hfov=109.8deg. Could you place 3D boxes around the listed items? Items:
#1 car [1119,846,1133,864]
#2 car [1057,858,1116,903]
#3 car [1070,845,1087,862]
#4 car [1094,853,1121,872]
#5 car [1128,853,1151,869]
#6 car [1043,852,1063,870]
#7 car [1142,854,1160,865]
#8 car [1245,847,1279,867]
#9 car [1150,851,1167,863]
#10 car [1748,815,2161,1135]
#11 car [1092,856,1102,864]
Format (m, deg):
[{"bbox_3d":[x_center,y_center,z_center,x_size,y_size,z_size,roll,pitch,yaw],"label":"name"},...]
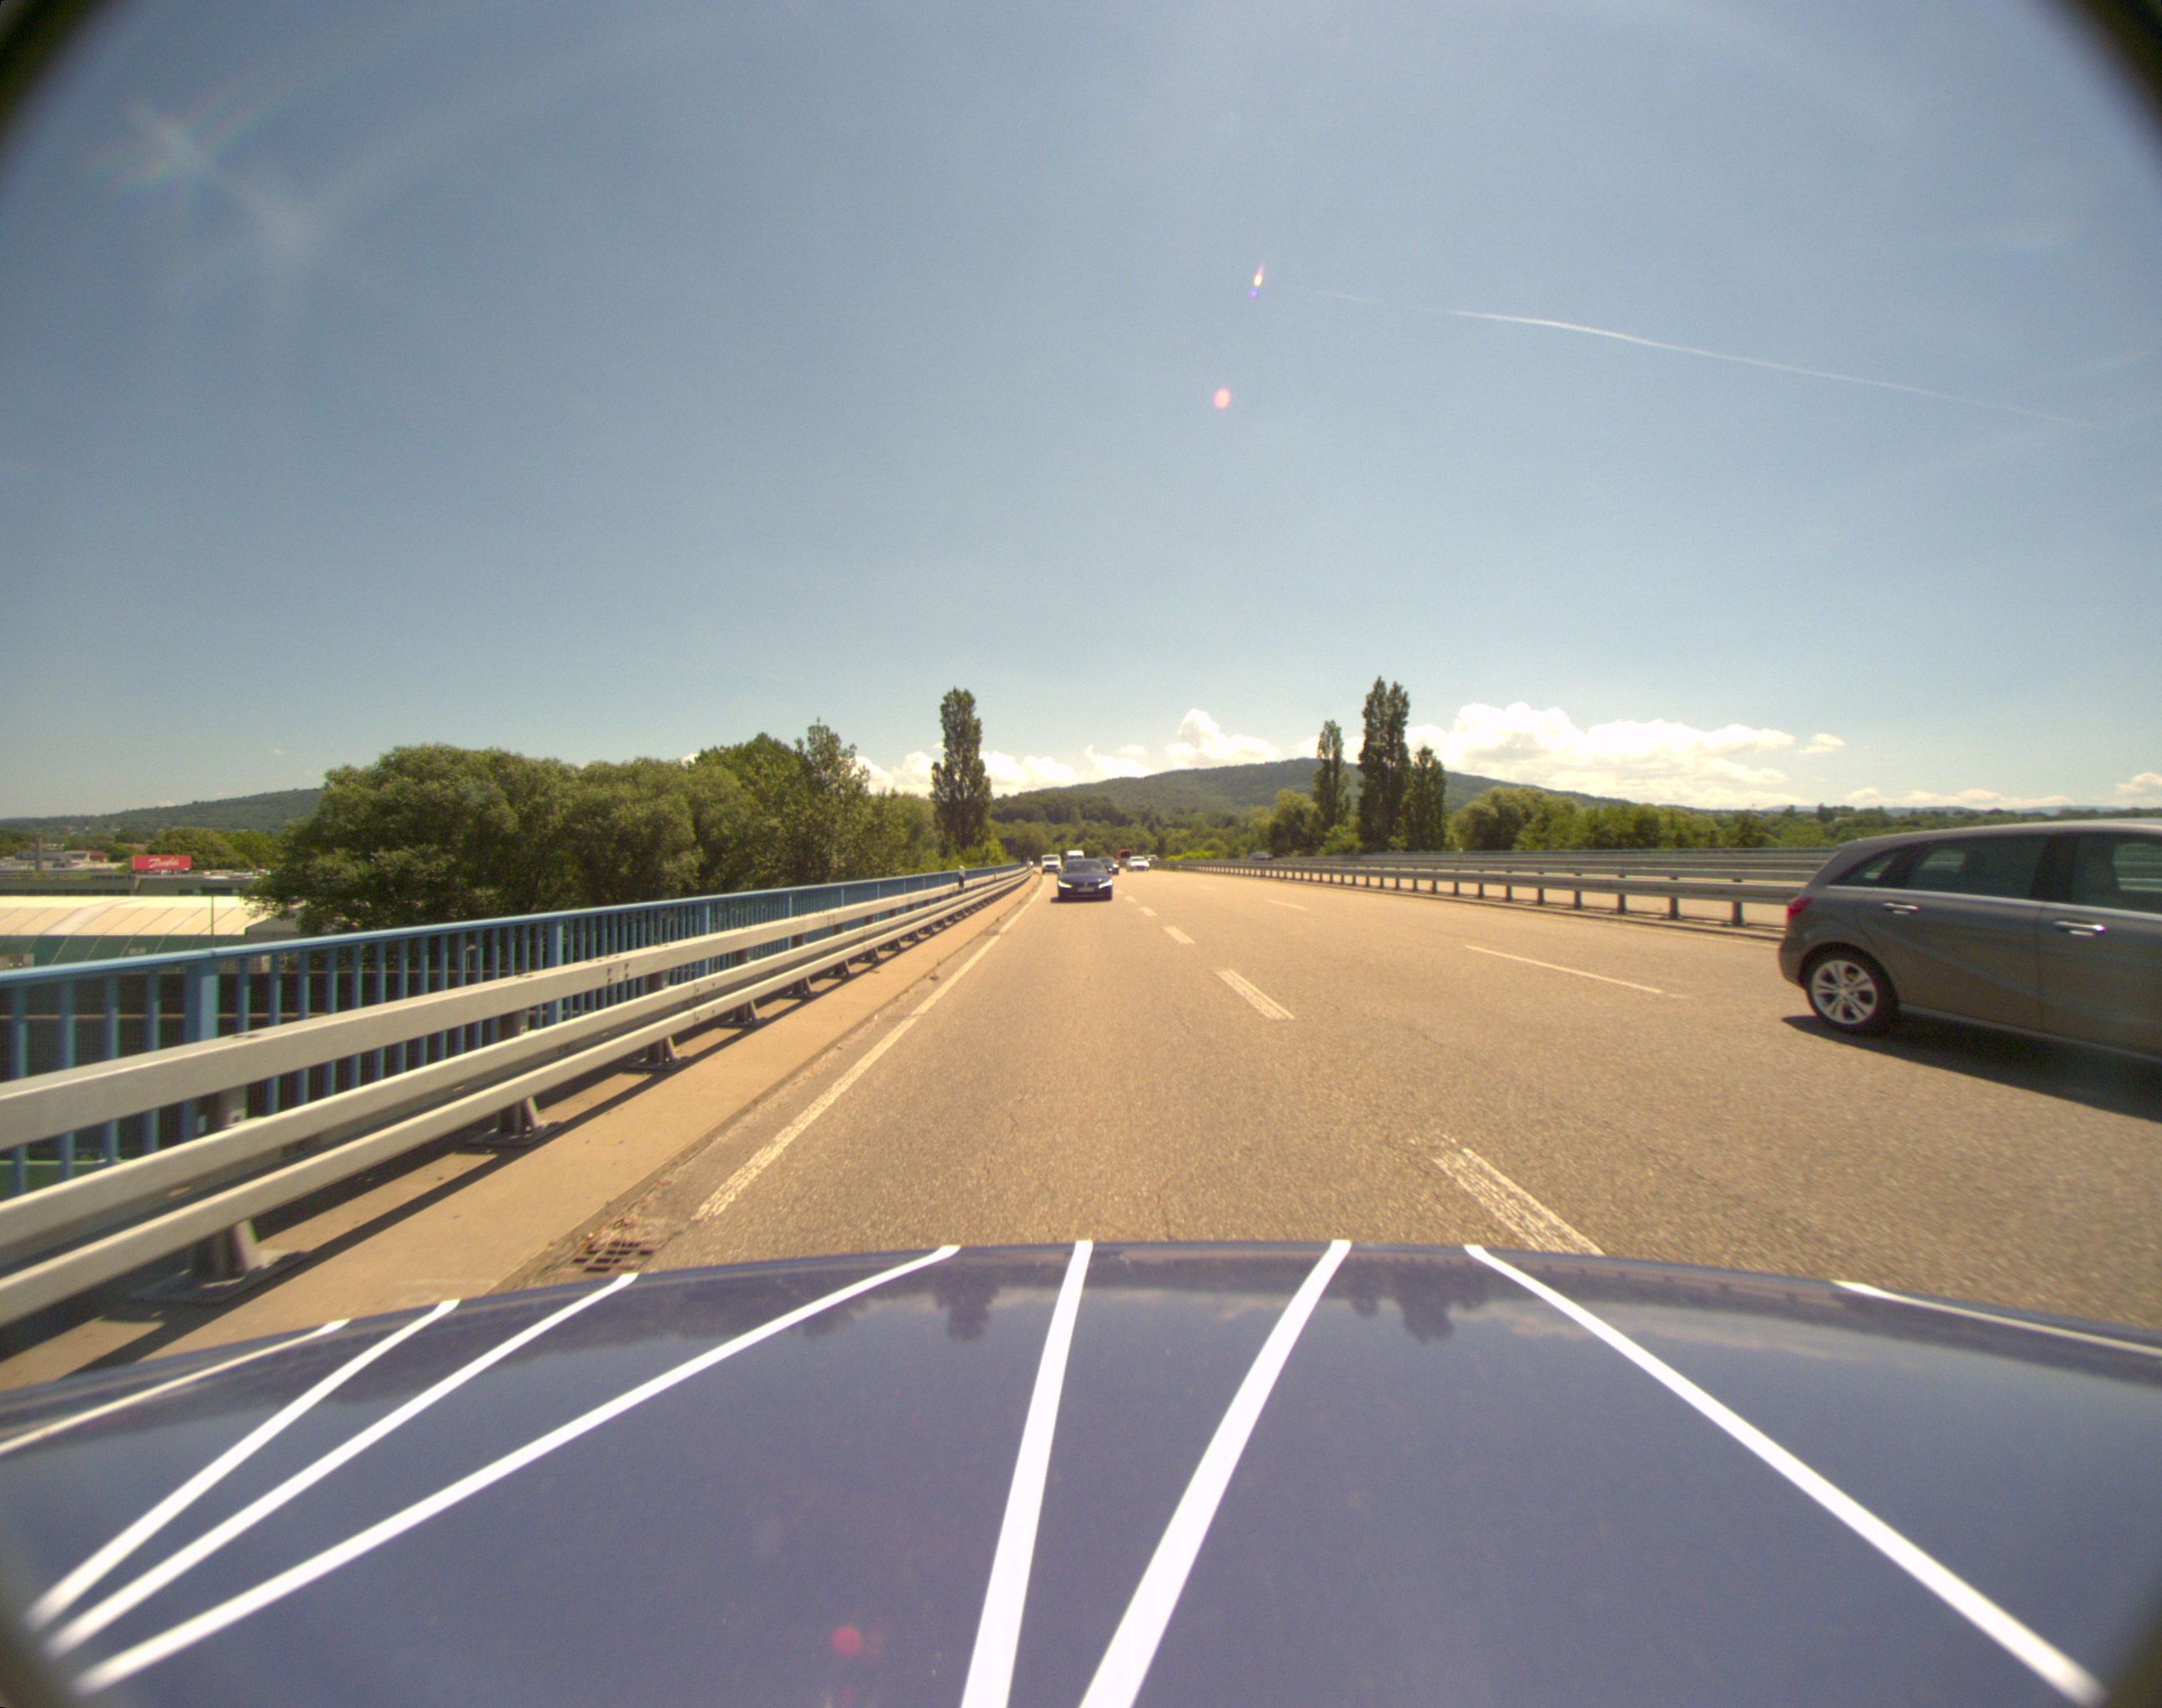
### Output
[{"bbox_3d":[8.609,0.126,145.737,2.311,3.272,7.027,-1,0,0],"label":"car"},{"bbox_3d":[0.111,0.869,26.961,1.846,1.399,4.469,-2,0,-2],"label":"car"},{"bbox_3d":[-0.313,-0.130,93.747,2.008,1.988,4.578,-2,1,-2],"label":"car"},{"bbox_3d":[2.135,0.643,61.750,1.846,1.399,4.468,-2,0,-2],"label":"car"},{"bbox_3d":[5.788,0.646,75.346,1.846,1.400,4.469,-2,1,-1],"label":"car"},{"bbox_3d":[-2.863,0.679,77.615,1.885,1.724,4.468,-2,1,-2],"label":"car"},{"bbox_3d":[10.022,0.825,109.376,1.910,1.496,4.683,-2,0,-2],"label":"car"},{"bbox_3d":[16.745,0.250,70.690,1.848,1.658,5.049,-1,1,-1],"label":"car"},{"bbox_3d":[12.716,0.441,124.660,1.858,1.808,4.792,-1,1,-4],"label":"car"},{"bbox_3d":[6.481,0.610,4.091,1.797,1.658,4.553,-1,1,0],"label":"car"},{"bbox_3d":[3.165,1.218,153.138,1.729,1.420,3.946,-1,1,-2],"label":"car"}]
